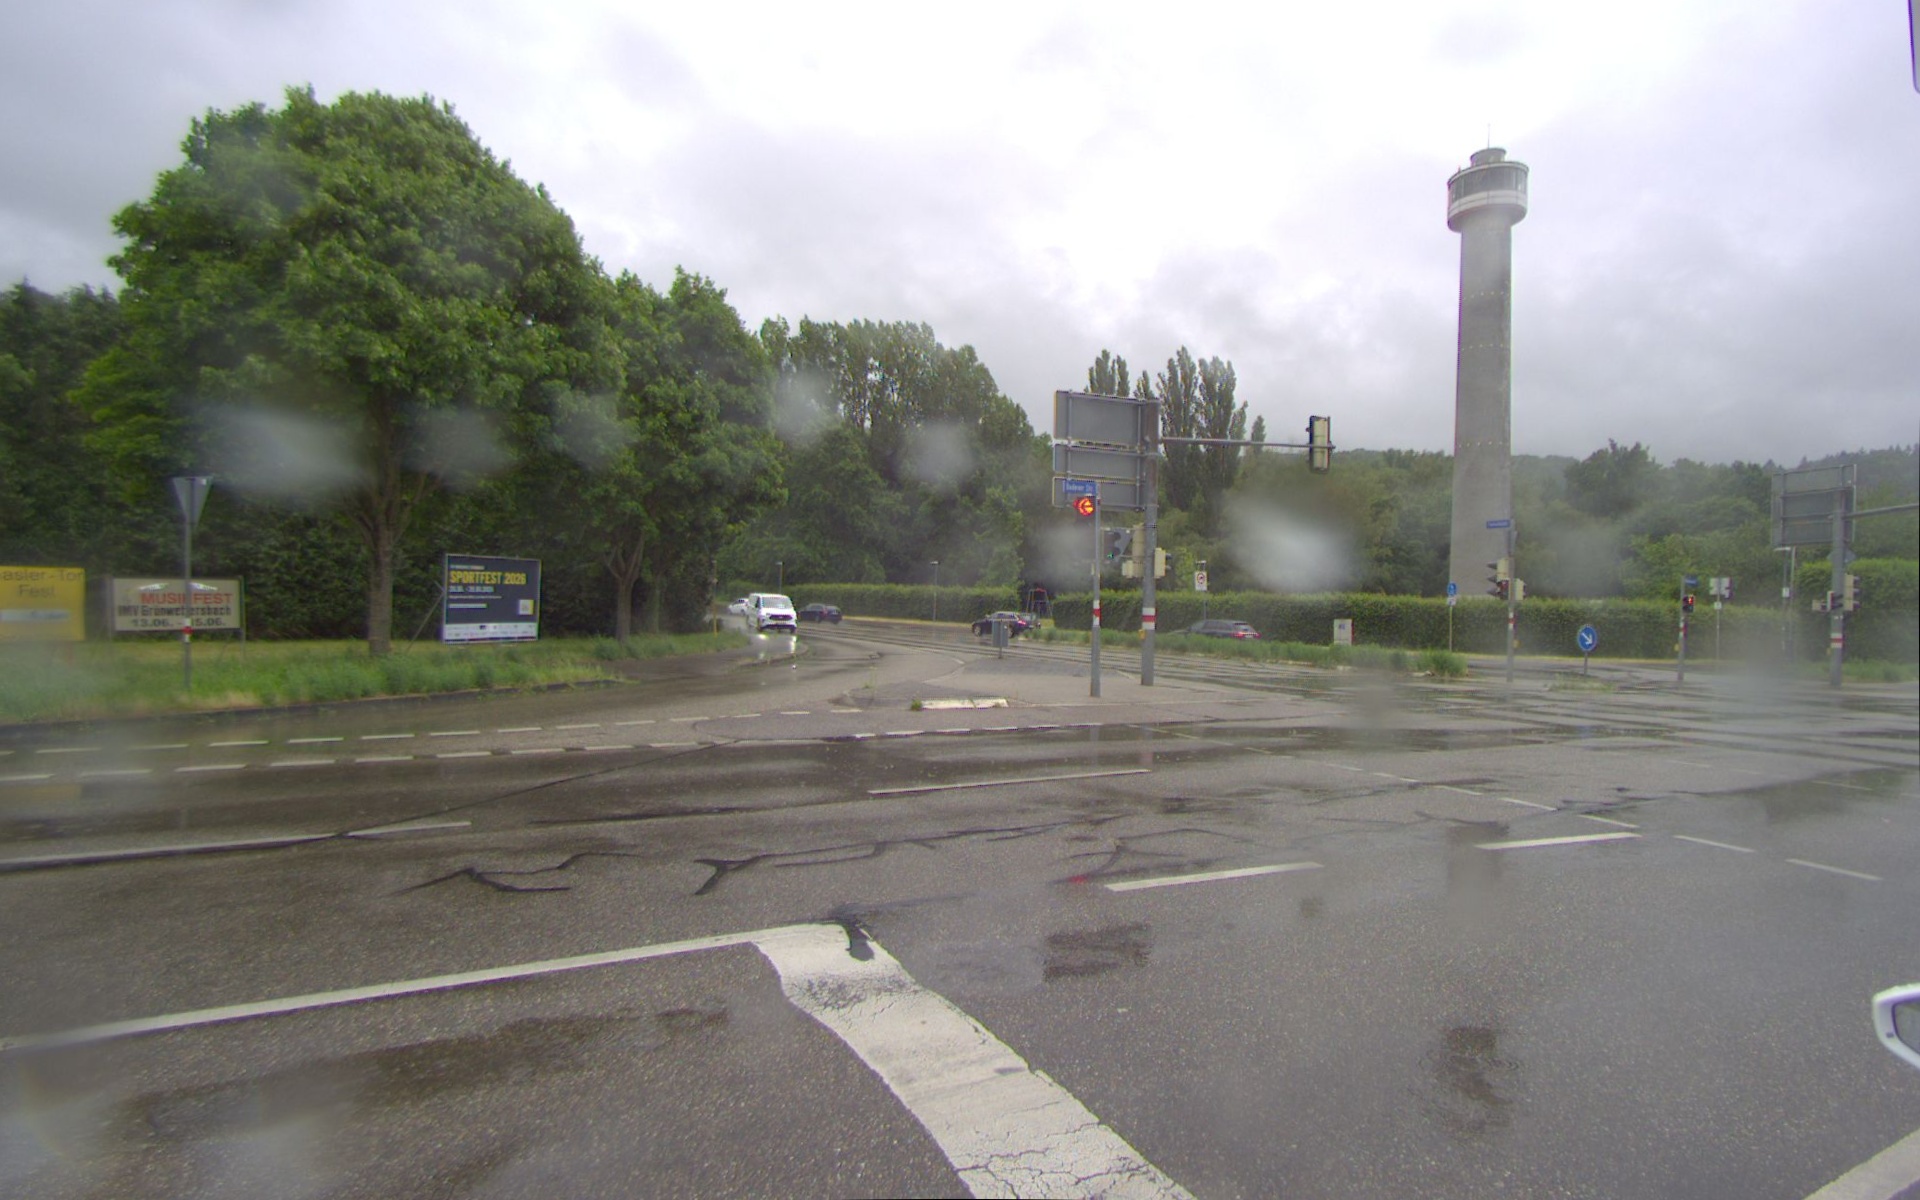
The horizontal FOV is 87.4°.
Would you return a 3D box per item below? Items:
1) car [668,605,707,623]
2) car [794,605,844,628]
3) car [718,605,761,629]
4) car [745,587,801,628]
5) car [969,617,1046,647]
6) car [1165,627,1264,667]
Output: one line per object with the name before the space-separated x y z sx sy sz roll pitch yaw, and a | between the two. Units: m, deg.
car | -25.619 1.279 94.292 1.807 1.661 4.631 1 -1 -39
car | -10.400 1.191 73.760 1.804 1.574 4.639 1 -1 -35
car | -18.527 1.445 84.394 1.896 1.941 4.638 1 -1 -35
car | -10.197 0.474 54.543 2.085 2.040 4.730 1 -2 -22
car | 2.639 1.804 57.363 1.807 1.574 4.633 1 -1 -38
car | 11.309 2.067 44.940 1.797 1.574 4.657 1 -1 -24
